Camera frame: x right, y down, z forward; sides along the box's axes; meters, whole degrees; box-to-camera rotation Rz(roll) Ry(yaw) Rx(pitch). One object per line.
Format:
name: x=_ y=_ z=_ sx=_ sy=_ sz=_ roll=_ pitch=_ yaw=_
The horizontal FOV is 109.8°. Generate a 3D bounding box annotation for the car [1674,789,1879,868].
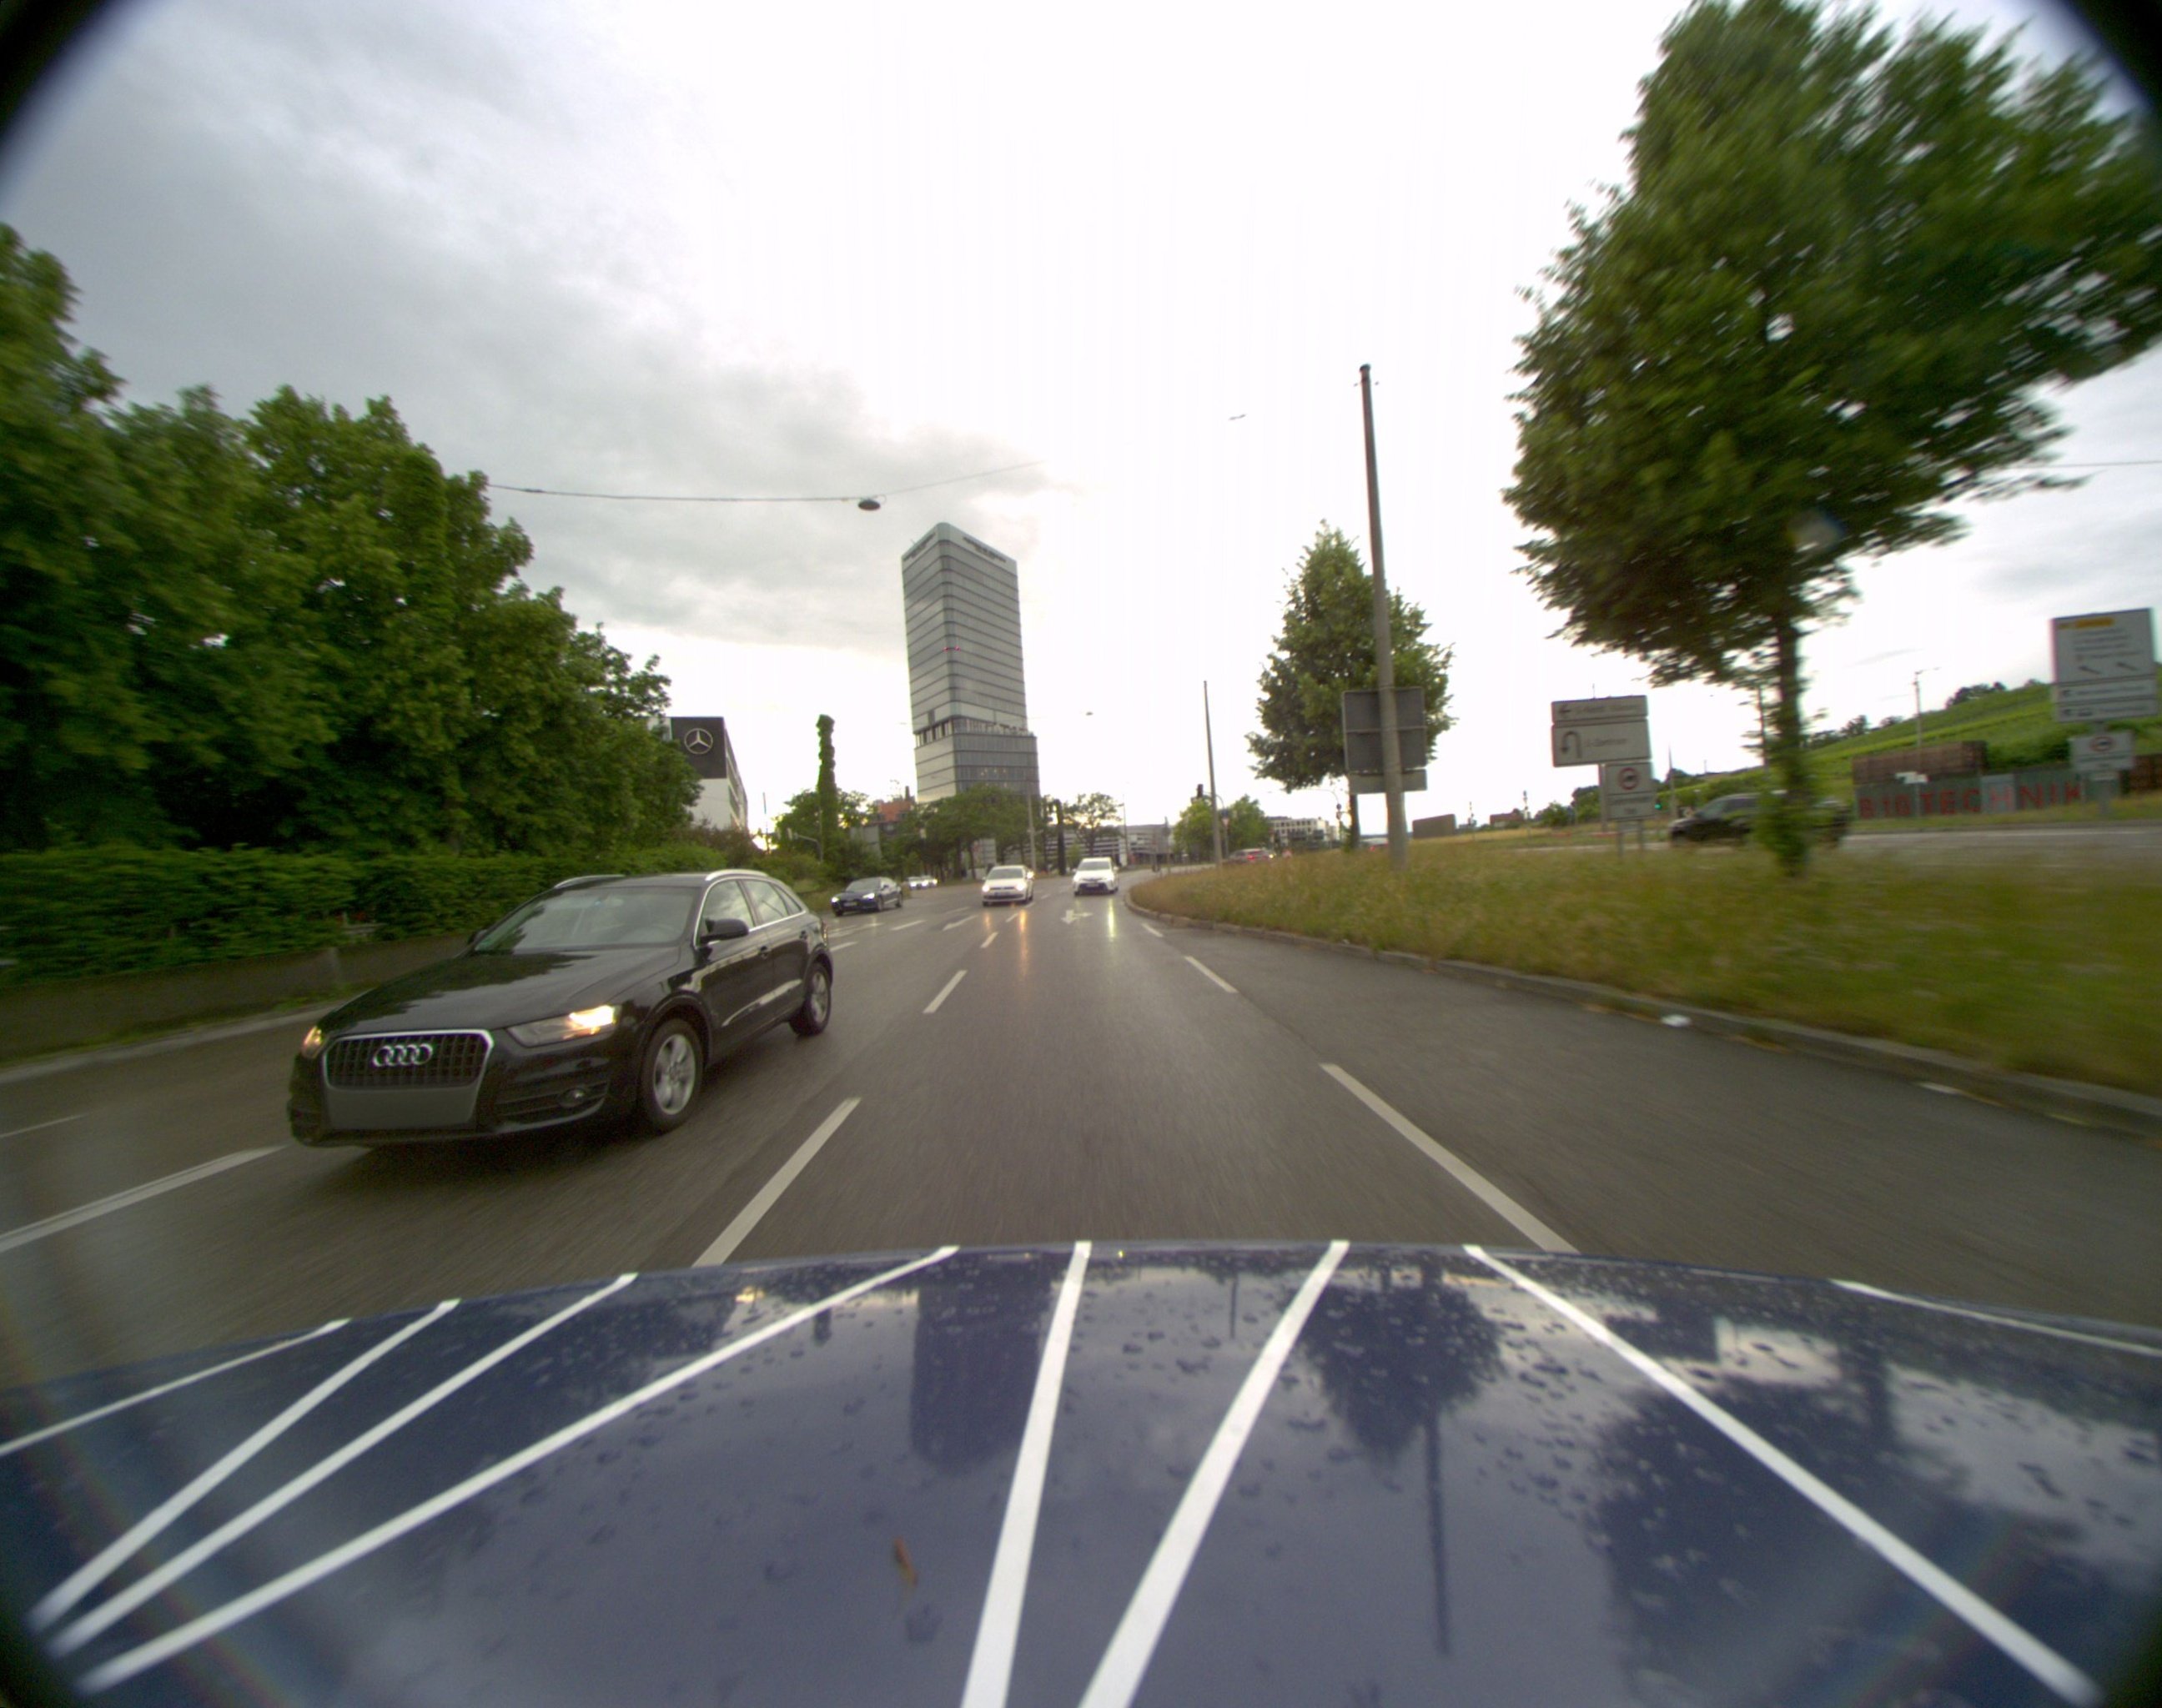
car: x=17.963 y=-0.601 z=19.918 sx=1.771 sy=1.739 sz=4.001 roll=-4 pitch=0 yaw=3

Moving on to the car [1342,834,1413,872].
car: x=14.683 y=-0.064 z=37.880 sx=1.883 sy=1.644 sz=4.357 roll=-4 pitch=0 yaw=2

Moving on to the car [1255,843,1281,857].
car: x=24.695 y=-0.521 z=100.134 sx=1.792 sy=1.579 sz=3.912 roll=-4 pitch=0 yaw=39

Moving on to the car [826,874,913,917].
car: x=-8.556 y=1.650 z=31.103 sx=1.757 sy=1.390 sz=4.003 roll=-4 pitch=0 yaw=11

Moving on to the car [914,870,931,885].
car: x=-17.640 y=2.593 z=84.484 sx=1.637 sy=1.467 sz=3.673 roll=-4 pitch=0 yaw=-14

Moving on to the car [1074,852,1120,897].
car: x=0.733 y=0.857 z=33.822 sx=1.827 sy=1.575 sz=4.296 roll=-4 pitch=3 yaw=2

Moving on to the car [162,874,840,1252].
car: x=-3.337 y=1.022 z=5.588 sx=1.730 sy=1.525 sz=4.126 roll=-5 pitch=0 yaw=-1

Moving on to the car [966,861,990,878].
car: x=-17.186 y=2.594 z=126.958 sx=1.934 sy=2.569 sz=5.449 roll=-5 pitch=0 yaw=-29

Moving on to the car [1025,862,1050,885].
car: x=-3.035 y=1.345 z=53.340 sx=1.569 sy=1.406 sz=3.879 roll=-5 pitch=0 yaw=-2

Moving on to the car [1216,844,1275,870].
car: x=10.925 y=0.223 z=50.787 sx=1.740 sy=1.453 sz=4.335 roll=-5 pitch=0 yaw=-20

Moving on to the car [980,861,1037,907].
car: x=-2.753 y=1.097 z=29.640 sx=1.730 sy=1.464 sz=4.263 roll=-5 pitch=0 yaw=-1
